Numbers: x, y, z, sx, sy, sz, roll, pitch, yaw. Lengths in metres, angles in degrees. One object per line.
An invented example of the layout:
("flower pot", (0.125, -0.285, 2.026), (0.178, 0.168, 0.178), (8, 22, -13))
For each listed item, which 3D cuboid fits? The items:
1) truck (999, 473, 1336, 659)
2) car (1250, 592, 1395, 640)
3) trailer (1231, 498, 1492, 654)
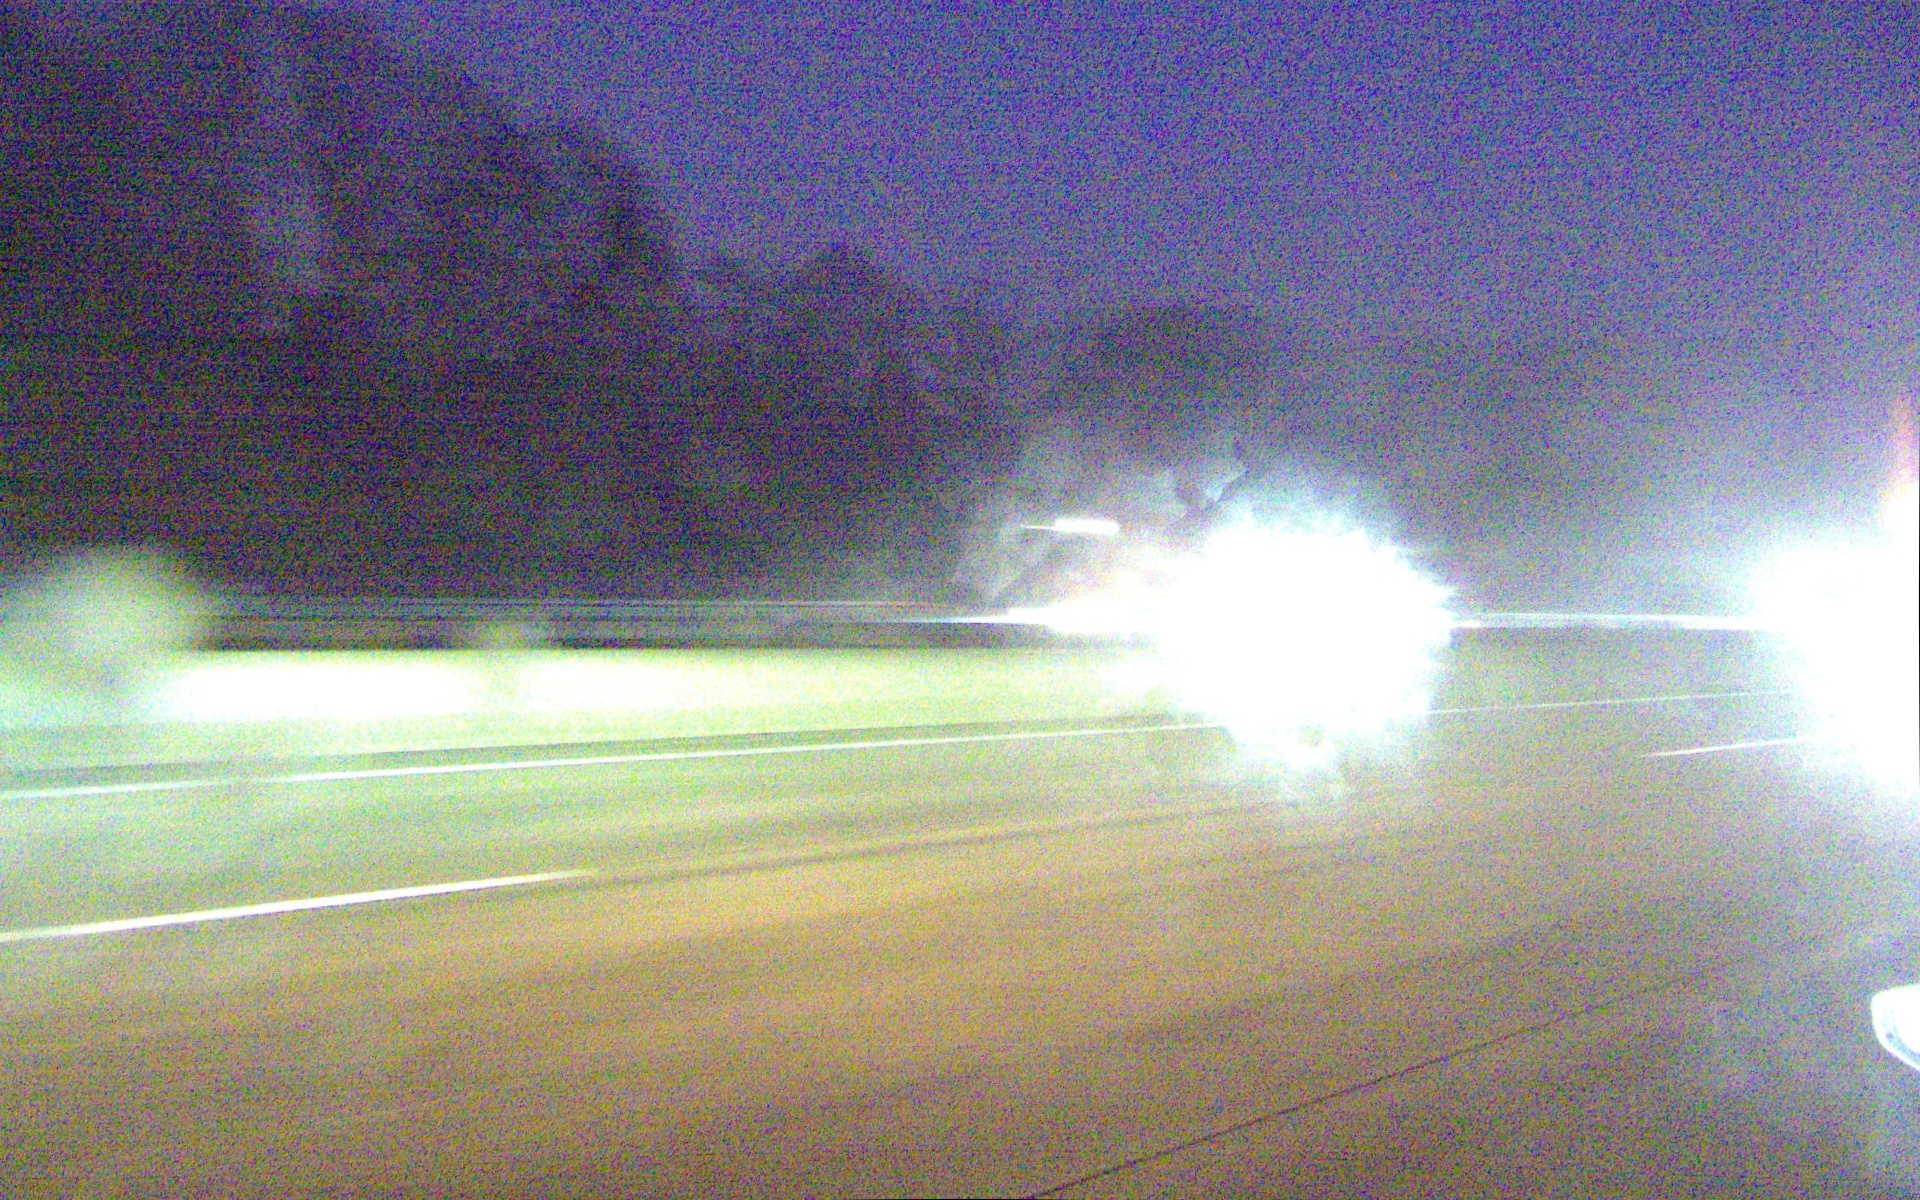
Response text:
("truck", (6.865, -1.051, 32.719), (10.355, 5.211, 4.315), (1, 5, -32))
("car", (10.612, 0.469, 29.344), (4.224, 1.237, 1.698), (2, 2, -31))
("trailer", (15.147, -0.906, 37.807), (8.894, 5.211, 4.316), (1, 5, -31))
